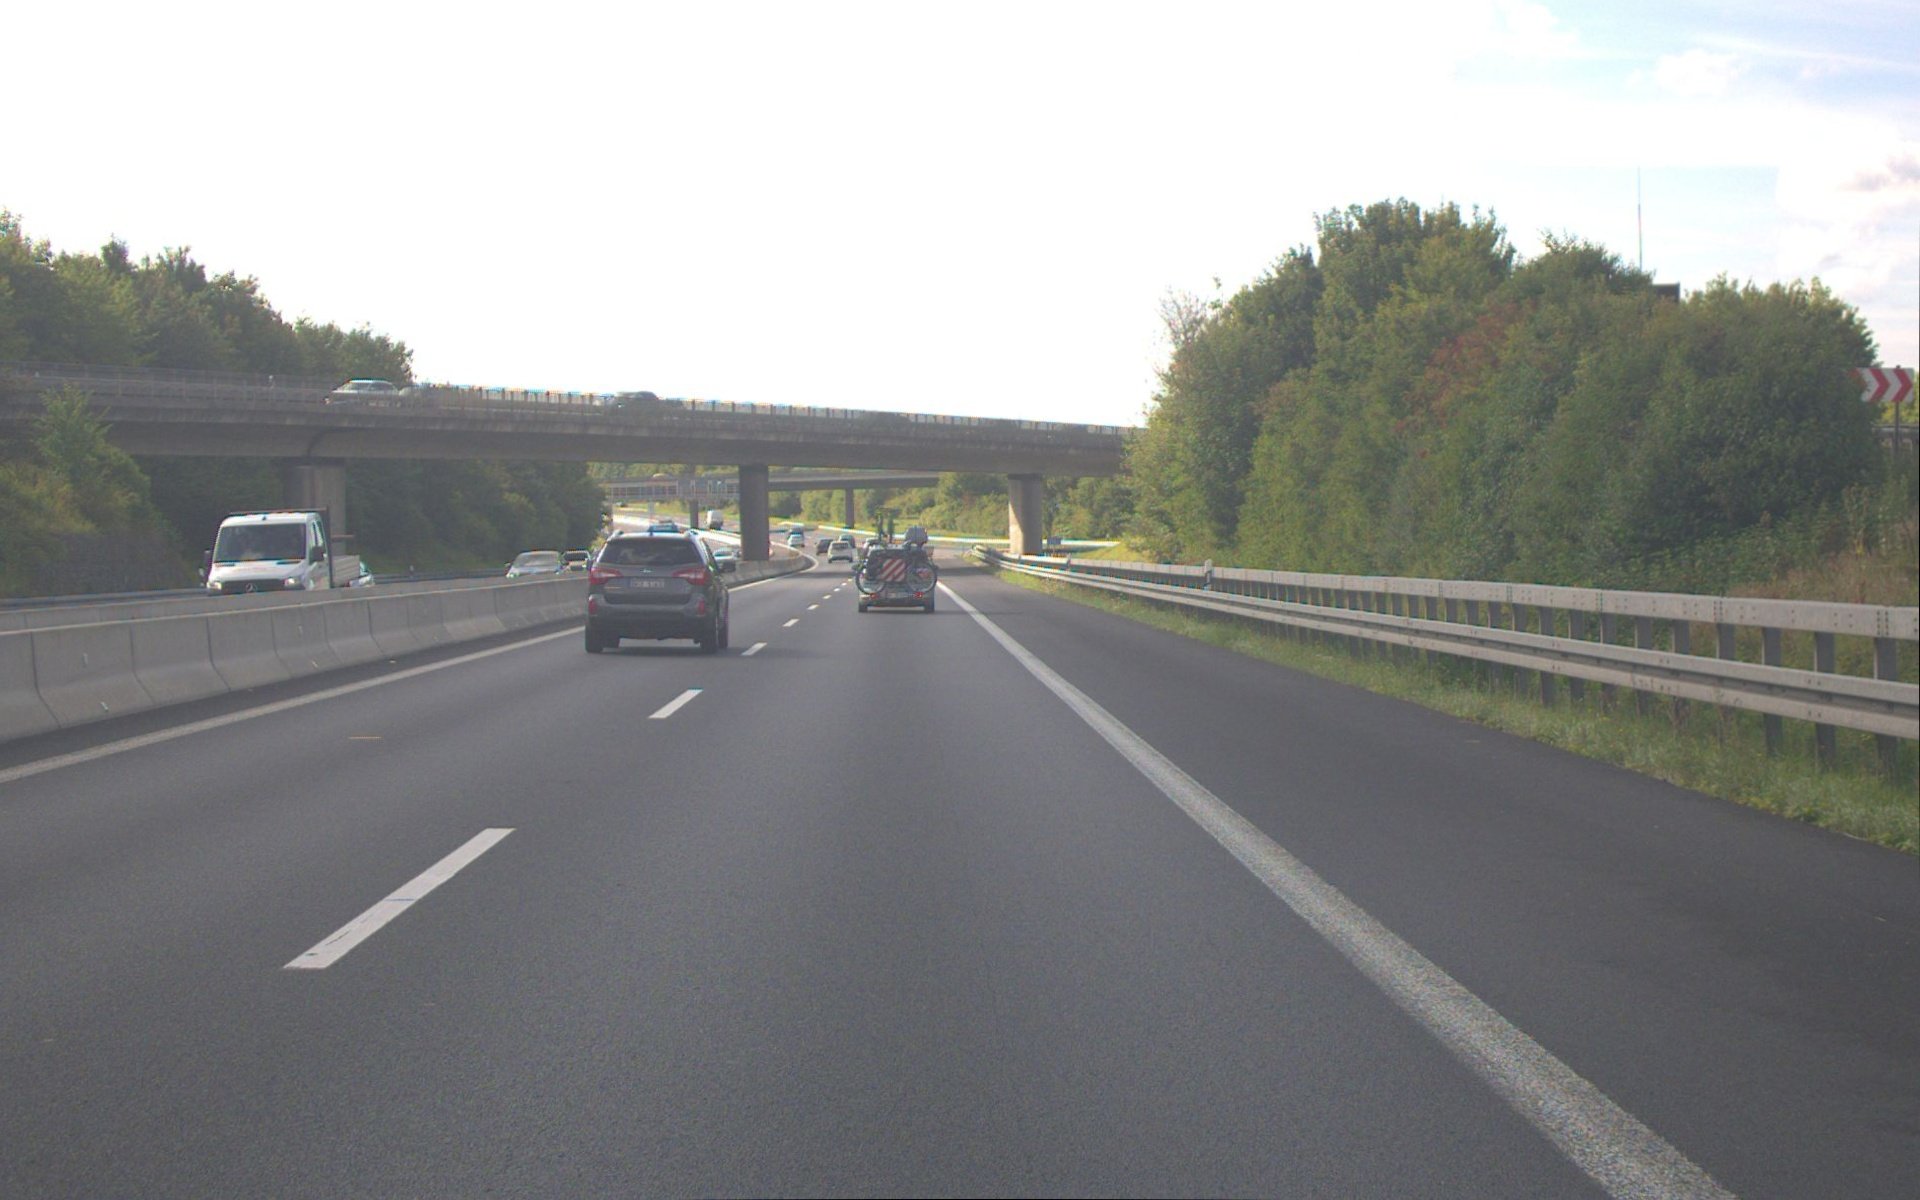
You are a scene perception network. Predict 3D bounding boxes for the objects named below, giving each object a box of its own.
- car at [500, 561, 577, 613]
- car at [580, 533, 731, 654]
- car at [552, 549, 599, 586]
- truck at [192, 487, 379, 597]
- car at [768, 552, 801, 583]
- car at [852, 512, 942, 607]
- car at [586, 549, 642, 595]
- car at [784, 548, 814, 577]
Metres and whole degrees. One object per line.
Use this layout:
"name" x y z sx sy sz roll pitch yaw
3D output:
"car" -14.207 -0.461 116.123 1.993 1.642 5.196 -2 1 -1
"car" -4.318 -0.121 49.209 1.750 1.624 3.609 -2 1 1
"car" -20.389 -1.759 182.635 1.993 1.890 4.823 -2 1 -1
"truck" -13.417 -1.159 68.899 2.376 2.007 7.437 -2 1 -1
"car" -11.702 -2.154 229.467 1.993 2.007 4.000 -2 1 -1
"car" -1.451 -0.948 79.951 1.993 2.073 4.000 -2 1 -1
"car" -15.049 -1.248 149.738 1.993 1.890 5.141 -2 1 -1
"car" -11.778 -2.755 251.747 1.993 2.007 4.000 -2 1 -1
